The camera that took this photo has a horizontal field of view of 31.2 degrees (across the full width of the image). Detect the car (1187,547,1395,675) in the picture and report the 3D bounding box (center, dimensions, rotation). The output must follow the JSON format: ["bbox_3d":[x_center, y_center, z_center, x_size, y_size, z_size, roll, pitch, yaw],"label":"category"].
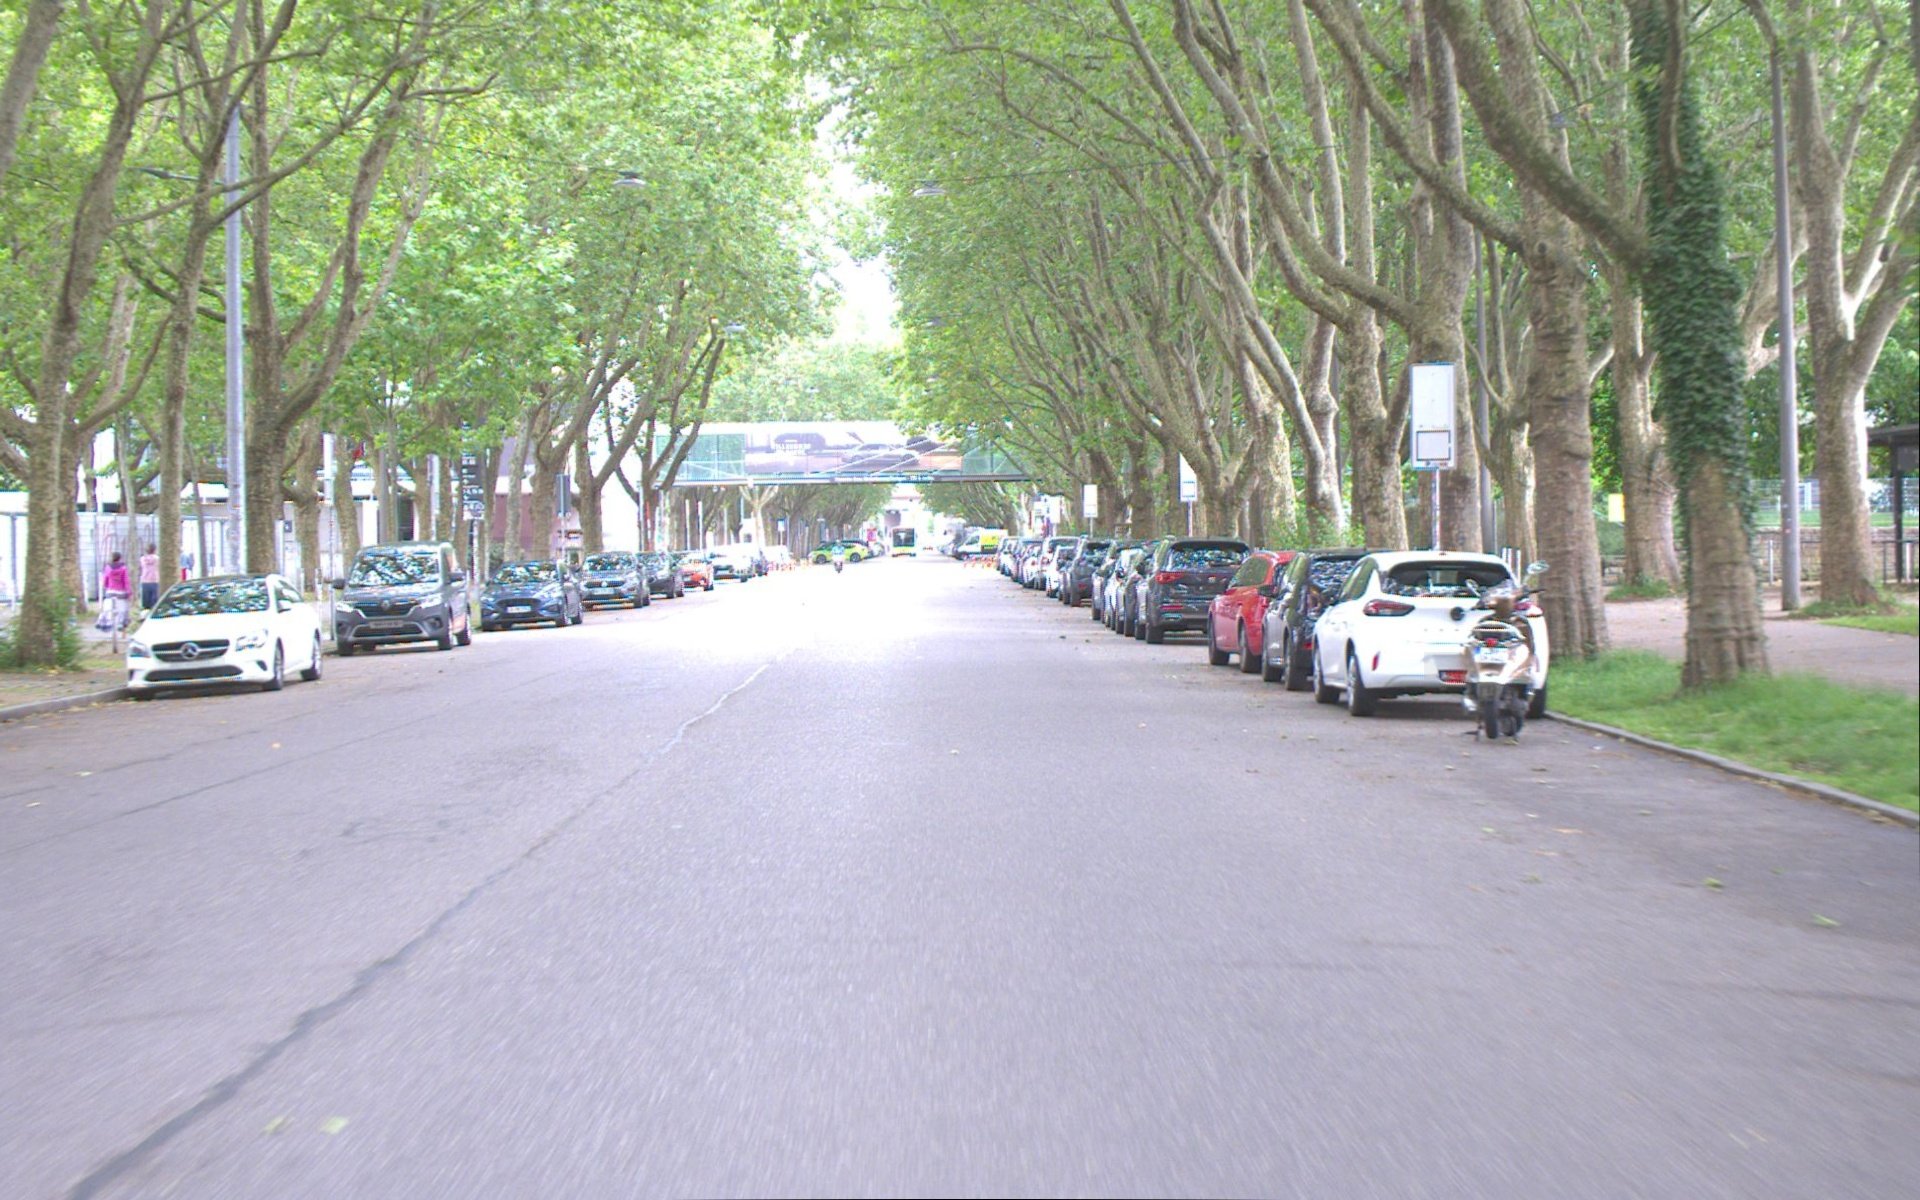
[{"bbox_3d":[3.951,0.088,41.767,1.716,1.433,4.630,1,1,-4],"label":"car"}]

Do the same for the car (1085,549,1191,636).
[{"bbox_3d":[3.543,-0.177,69.193,1.777,1.667,4.638,-1,1,-1],"label":"car"}]

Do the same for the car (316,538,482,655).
[{"bbox_3d":[-9.078,-0.082,55.996,1.949,1.744,4.639,-2,1,-1],"label":"car"}]

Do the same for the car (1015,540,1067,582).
[{"bbox_3d":[3.109,-1.496,132.384,1.802,1.550,4.000,-1,1,-1],"label":"car"}]

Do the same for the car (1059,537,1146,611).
[{"bbox_3d":[3.394,-0.645,82.615,1.707,1.692,4.631,1,1,-2],"label":"car"}]

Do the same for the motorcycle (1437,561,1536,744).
[{"bbox_3d":[3.999,0.375,26.217,0.712,1.327,1.992,0,1,8],"label":"motorcycle"}]

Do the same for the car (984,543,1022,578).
[{"bbox_3d":[2.223,-2.033,178.708,1.847,1.777,5.211,1,0,0],"label":"car"}]

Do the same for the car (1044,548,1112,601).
[{"bbox_3d":[3.266,-0.715,95.591,1.707,1.422,3.889,1,1,0],"label":"car"}]

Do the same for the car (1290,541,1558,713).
[{"bbox_3d":[4.142,0.198,31.277,1.735,1.433,4.123,-1,1,-2],"label":"car"}]

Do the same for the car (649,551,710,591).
[{"bbox_3d":[-9.787,-1.026,120.170,1.808,1.349,4.000,-1,1,0],"label":"car"}]

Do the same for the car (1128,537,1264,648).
[{"bbox_3d":[3.598,-0.148,53.111,1.755,1.614,4.439,1,1,0],"label":"car"}]

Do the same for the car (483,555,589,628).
[{"bbox_3d":[-9.092,-0.209,74.054,1.724,1.481,4.575,-1,1,0],"label":"car"}]

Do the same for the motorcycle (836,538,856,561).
[{"bbox_3d":[-5.604,-2.480,168.657,0.873,1.075,3.053,-1,1,-4],"label":"motorcycle"}]

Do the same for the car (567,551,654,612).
[{"bbox_3d":[-9.284,-0.515,91.633,1.878,1.521,4.151,-2,1,0],"label":"car"}]

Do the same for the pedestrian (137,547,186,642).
[{"bbox_3d":[-14.977,-0.101,64.502,0.577,1.764,0.767,0,1,14],"label":"pedestrian"}]

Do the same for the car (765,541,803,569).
[{"bbox_3d":[-10.144,-2.609,197.864,1.993,1.596,4.001,0,1,-6],"label":"car"}]

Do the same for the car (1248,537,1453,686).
[{"bbox_3d":[4.139,0.089,36.960,1.730,1.465,4.080,2,1,1],"label":"car"}]

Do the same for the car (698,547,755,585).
[{"bbox_3d":[-9.884,-1.459,145.817,2.073,1.557,4.756,-1,1,0],"label":"car"}]

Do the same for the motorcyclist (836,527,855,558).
[{"bbox_3d":[-5.619,-2.816,168.741,0.870,1.475,1.265,-1,1,-4],"label":"motorcyclist"}]

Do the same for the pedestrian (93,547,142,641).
[{"bbox_3d":[-15.779,-0.119,64.403,0.575,1.736,0.767,0,1,14],"label":"pedestrian"}]

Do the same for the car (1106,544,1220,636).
[{"bbox_3d":[3.457,-0.199,59.181,1.668,1.504,4.354,1,1,0],"label":"car"}]

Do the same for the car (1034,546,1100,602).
[{"bbox_3d":[3.387,-0.837,109.336,1.903,1.733,4.507,0,1,0],"label":"car"}]

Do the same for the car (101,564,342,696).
[{"bbox_3d":[-9.060,0.324,42.561,1.904,1.398,4.751,-4,1,0],"label":"car"}]
